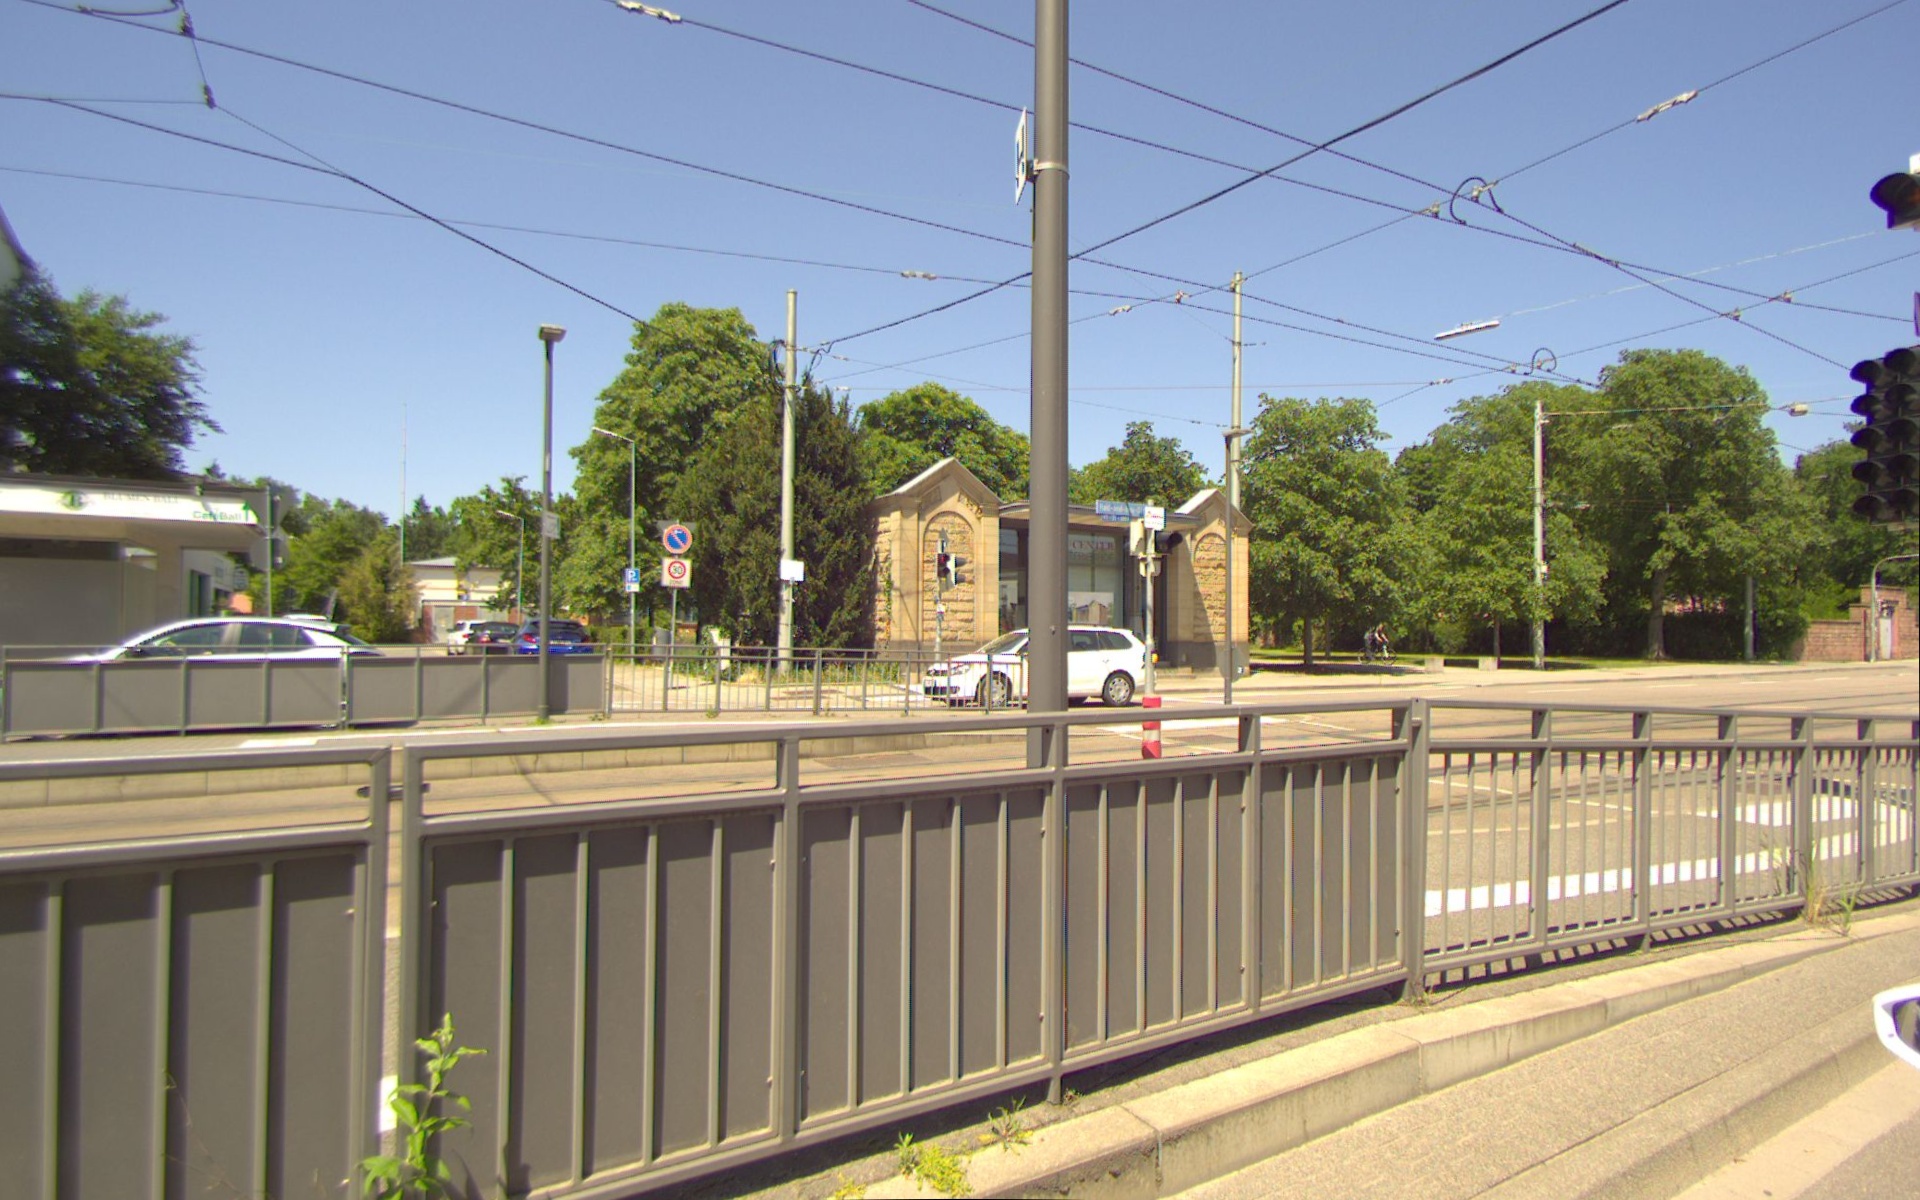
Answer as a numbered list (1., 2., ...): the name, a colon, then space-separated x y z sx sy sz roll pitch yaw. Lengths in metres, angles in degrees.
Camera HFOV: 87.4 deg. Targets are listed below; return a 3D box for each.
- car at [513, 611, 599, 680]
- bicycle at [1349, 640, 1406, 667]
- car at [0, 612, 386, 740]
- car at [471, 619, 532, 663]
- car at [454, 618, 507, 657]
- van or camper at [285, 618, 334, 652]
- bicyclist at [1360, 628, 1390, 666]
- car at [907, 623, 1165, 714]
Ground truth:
1. car: -10.048 1.064 24.839 1.799 1.472 3.934 1 1 -24
2. bicycle: 17.185 2.181 41.406 0.711 1.055 2.079 2 -2 -40
3. car: -9.463 0.894 12.412 4.000 1.380 1.811 1 -3 -28
4. car: -15.554 1.405 33.984 1.624 1.388 3.785 1 -3 -29
5. car: -18.767 1.486 39.233 1.625 1.465 3.784 1 -3 -29
6. van or camper: -32.200 1.719 49.698 1.676 1.587 3.784 2 -2 -38
7. bicyclist: 17.132 1.939 41.461 0.847 1.551 0.835 2 -2 -41
8. car: 1.418 1.215 18.500 4.438 1.509 1.813 1 -2 -25
